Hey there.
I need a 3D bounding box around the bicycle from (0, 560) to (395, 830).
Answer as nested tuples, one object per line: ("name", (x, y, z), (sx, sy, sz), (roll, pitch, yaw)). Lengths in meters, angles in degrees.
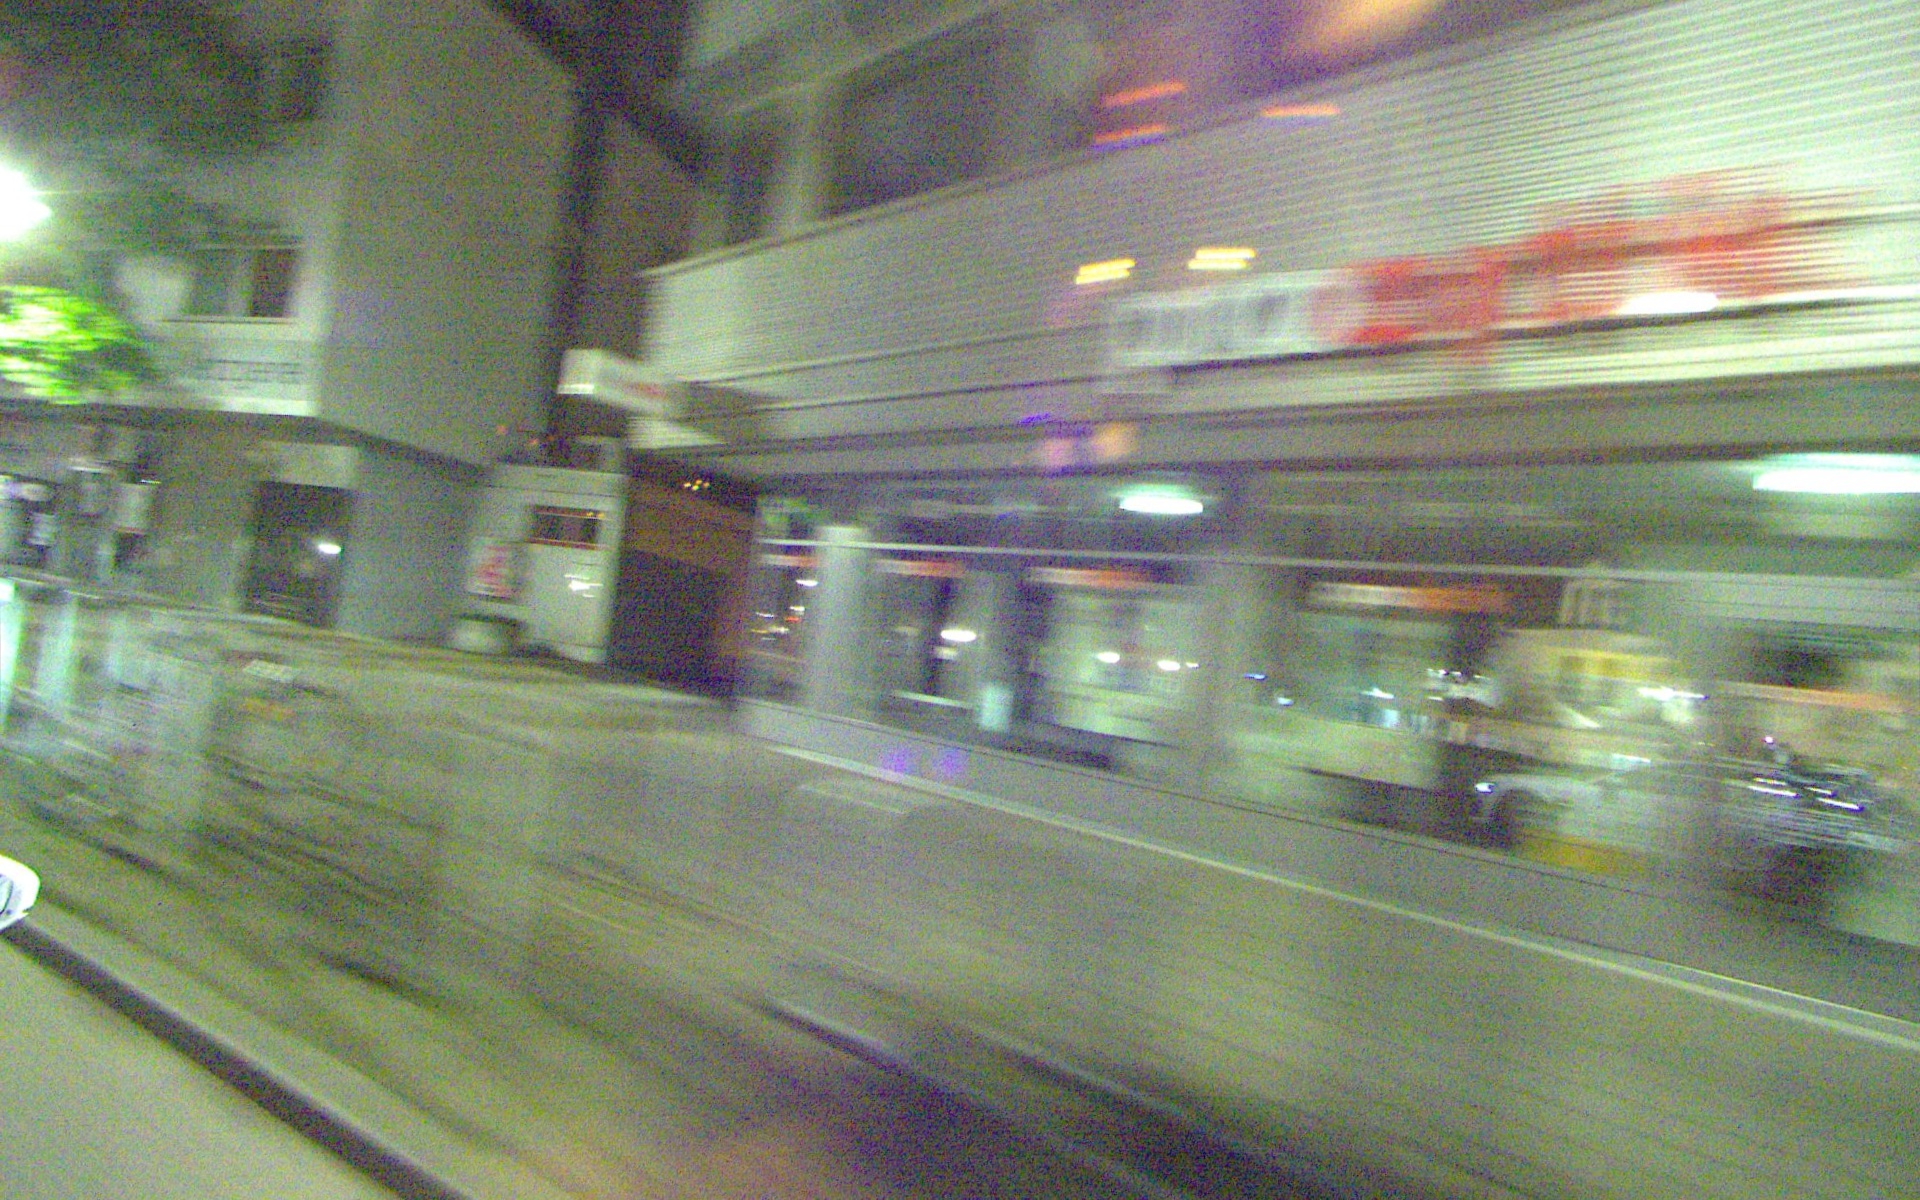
("bicycle", (-3.906, 0.448, 5.079), (0.643, 1.074, 1.757), (7, -2, 17))
